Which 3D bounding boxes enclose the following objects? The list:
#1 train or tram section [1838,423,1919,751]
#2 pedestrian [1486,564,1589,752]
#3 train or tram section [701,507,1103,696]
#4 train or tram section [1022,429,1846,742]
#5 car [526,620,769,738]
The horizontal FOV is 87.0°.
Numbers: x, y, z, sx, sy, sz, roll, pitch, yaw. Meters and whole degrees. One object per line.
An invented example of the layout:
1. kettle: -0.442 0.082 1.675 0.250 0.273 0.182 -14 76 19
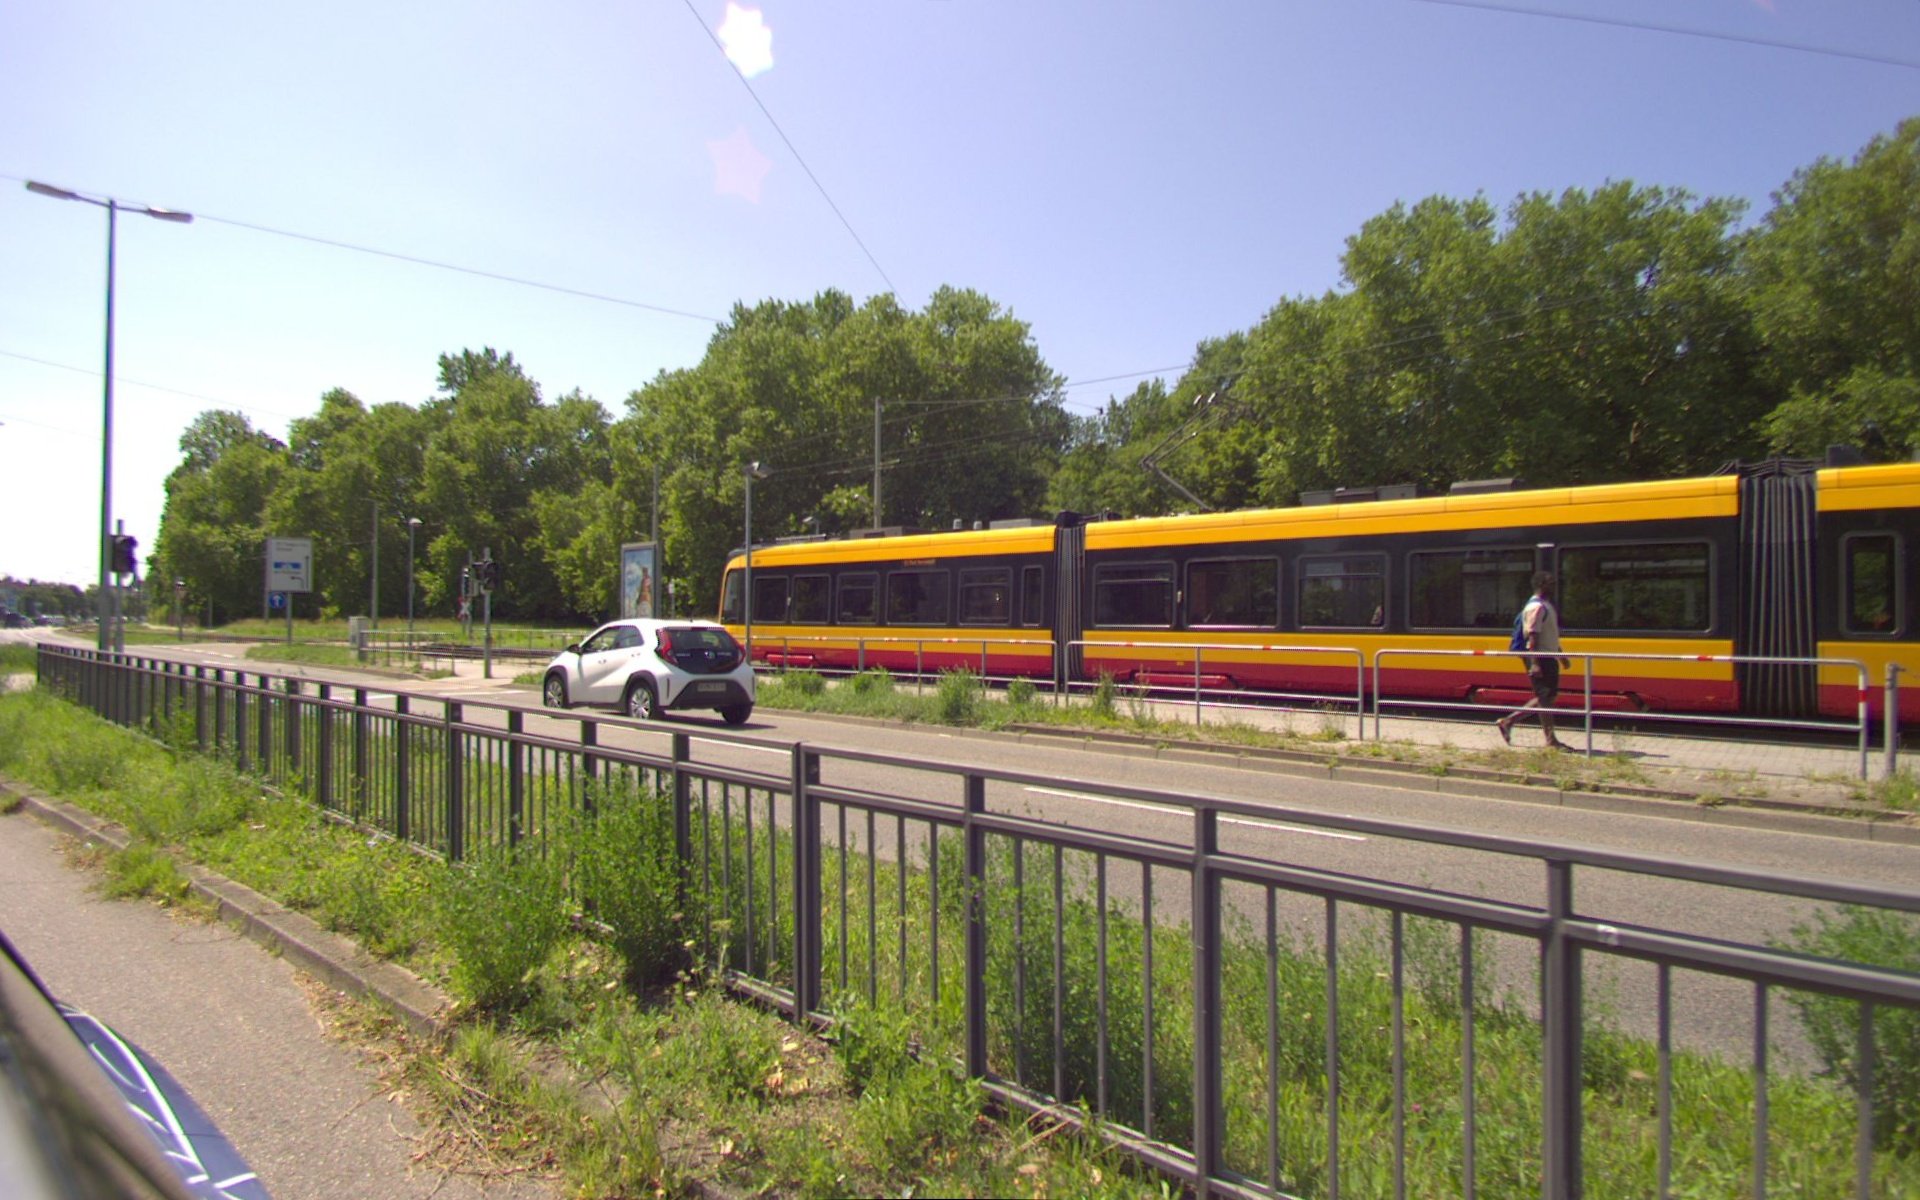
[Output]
1. train or tram section: 16.482 -0.259 8.791 13.261 3.795 3.011 -1 0 43
2. pedestrian: 5.844 0.562 10.237 0.776 1.804 0.625 -1 0 41
3. train or tram section: -2.023 0.093 25.732 11.538 3.884 2.918 -1 0 42
4. train or tram section: 6.952 -0.096 17.562 12.593 3.769 3.011 -1 0 42
5. car: -4.682 1.055 14.961 3.717 1.516 1.751 -1 -1 41
